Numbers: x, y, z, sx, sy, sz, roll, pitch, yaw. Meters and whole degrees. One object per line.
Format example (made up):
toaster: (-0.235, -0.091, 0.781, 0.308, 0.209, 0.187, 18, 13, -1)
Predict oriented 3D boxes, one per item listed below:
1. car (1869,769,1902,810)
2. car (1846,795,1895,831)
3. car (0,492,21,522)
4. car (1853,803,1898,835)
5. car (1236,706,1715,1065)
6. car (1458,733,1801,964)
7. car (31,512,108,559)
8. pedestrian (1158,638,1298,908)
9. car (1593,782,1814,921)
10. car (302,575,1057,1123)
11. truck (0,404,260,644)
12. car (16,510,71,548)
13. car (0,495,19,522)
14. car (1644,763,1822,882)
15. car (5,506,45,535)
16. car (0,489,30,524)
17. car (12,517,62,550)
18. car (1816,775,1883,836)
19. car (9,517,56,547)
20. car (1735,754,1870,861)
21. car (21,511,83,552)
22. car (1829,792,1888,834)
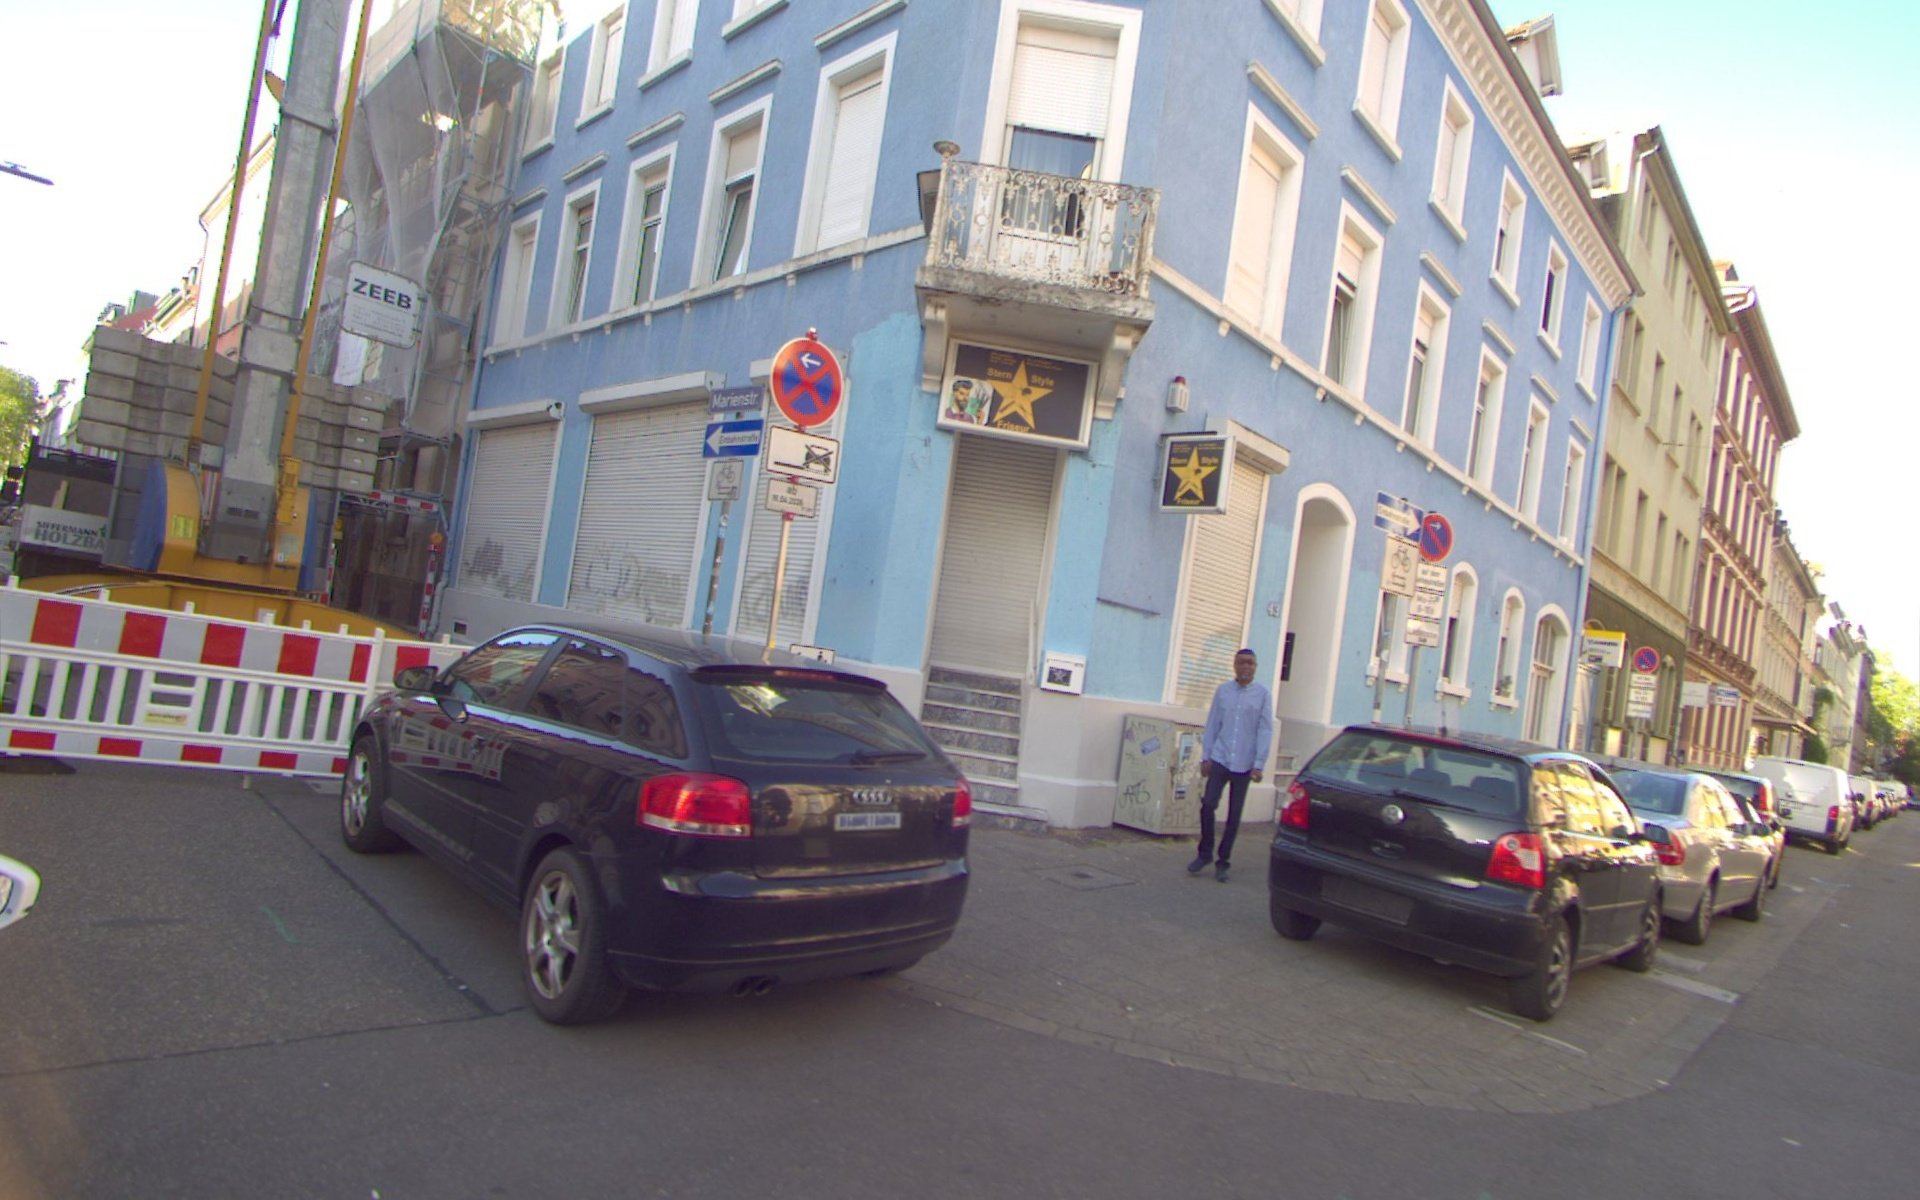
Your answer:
car: (73.966, 15.190, 80.407, 1.731, 2.945, 4.173, 2, -7, 45)
car: (48.025, 11.211, 53.043, 1.731, 1.528, 3.898, 2, -7, 45)
car: (-130.761, -12.785, 138.099, 2.302, 3.813, 6.684, 7, -1, -45)
car: (52.478, 12.526, 57.625, 1.731, 1.528, 3.898, 2, -7, 45)
car: (3.651, 1.701, 6.752, 1.655, 1.469, 3.863, 7, -4, 45)
car: (6.728, 2.318, 9.877, 4.462, 1.450, 1.735, 12, -2, -43)
car: (-33.675, -2.467, 38.008, 1.812, 1.455, 4.730, 7, -2, -45)
pedestrian: (2.097, 1.301, 7.818, 0.766, 1.869, 0.773, 8, -3, 19)
car: (10.089, 3.275, 13.527, 1.735, 1.241, 4.146, 6, -4, 45)
car: (-1.694, 0.842, 5.077, 3.982, 1.449, 1.770, 6, -4, 45)
truck: (-14.174, -1.189, 16.724, 2.658, 2.843, 7.301, 12, -5, -44)
car: (-44.838, -3.495, 49.186, 1.706, 1.575, 3.949, 7, -1, -45)
car: (-99.001, -9.502, 103.861, 2.302, 2.568, 6.684, 7, -1, -45)
car: (13.571, 3.844, 17.577, 3.961, 1.493, 1.735, 12, -2, -43)
car: (-58.885, -5.003, 63.347, 1.616, 1.569, 3.949, 7, -1, -45)
car: (-81.306, -8.015, 85.967, 2.302, 2.568, 6.684, 7, -1, -45)
car: (-48.494, -3.499, 52.844, 1.706, 1.400, 3.949, 7, -1, -45)
car: (35.723, 8.225, 40.376, 1.731, 2.074, 3.898, 2, -7, 45)
car: (-52.274, -3.841, 56.661, 1.706, 1.400, 3.949, 7, -1, -45)
car: (20.054, 4.896, 23.870, 4.530, 1.967, 1.813, 11, -3, -43)
car: (-40.894, -3.100, 45.285, 1.812, 1.539, 3.949, 7, -1, -45)
car: (40.029, 9.474, 44.809, 1.731, 1.528, 3.898, 2, -7, 45)
